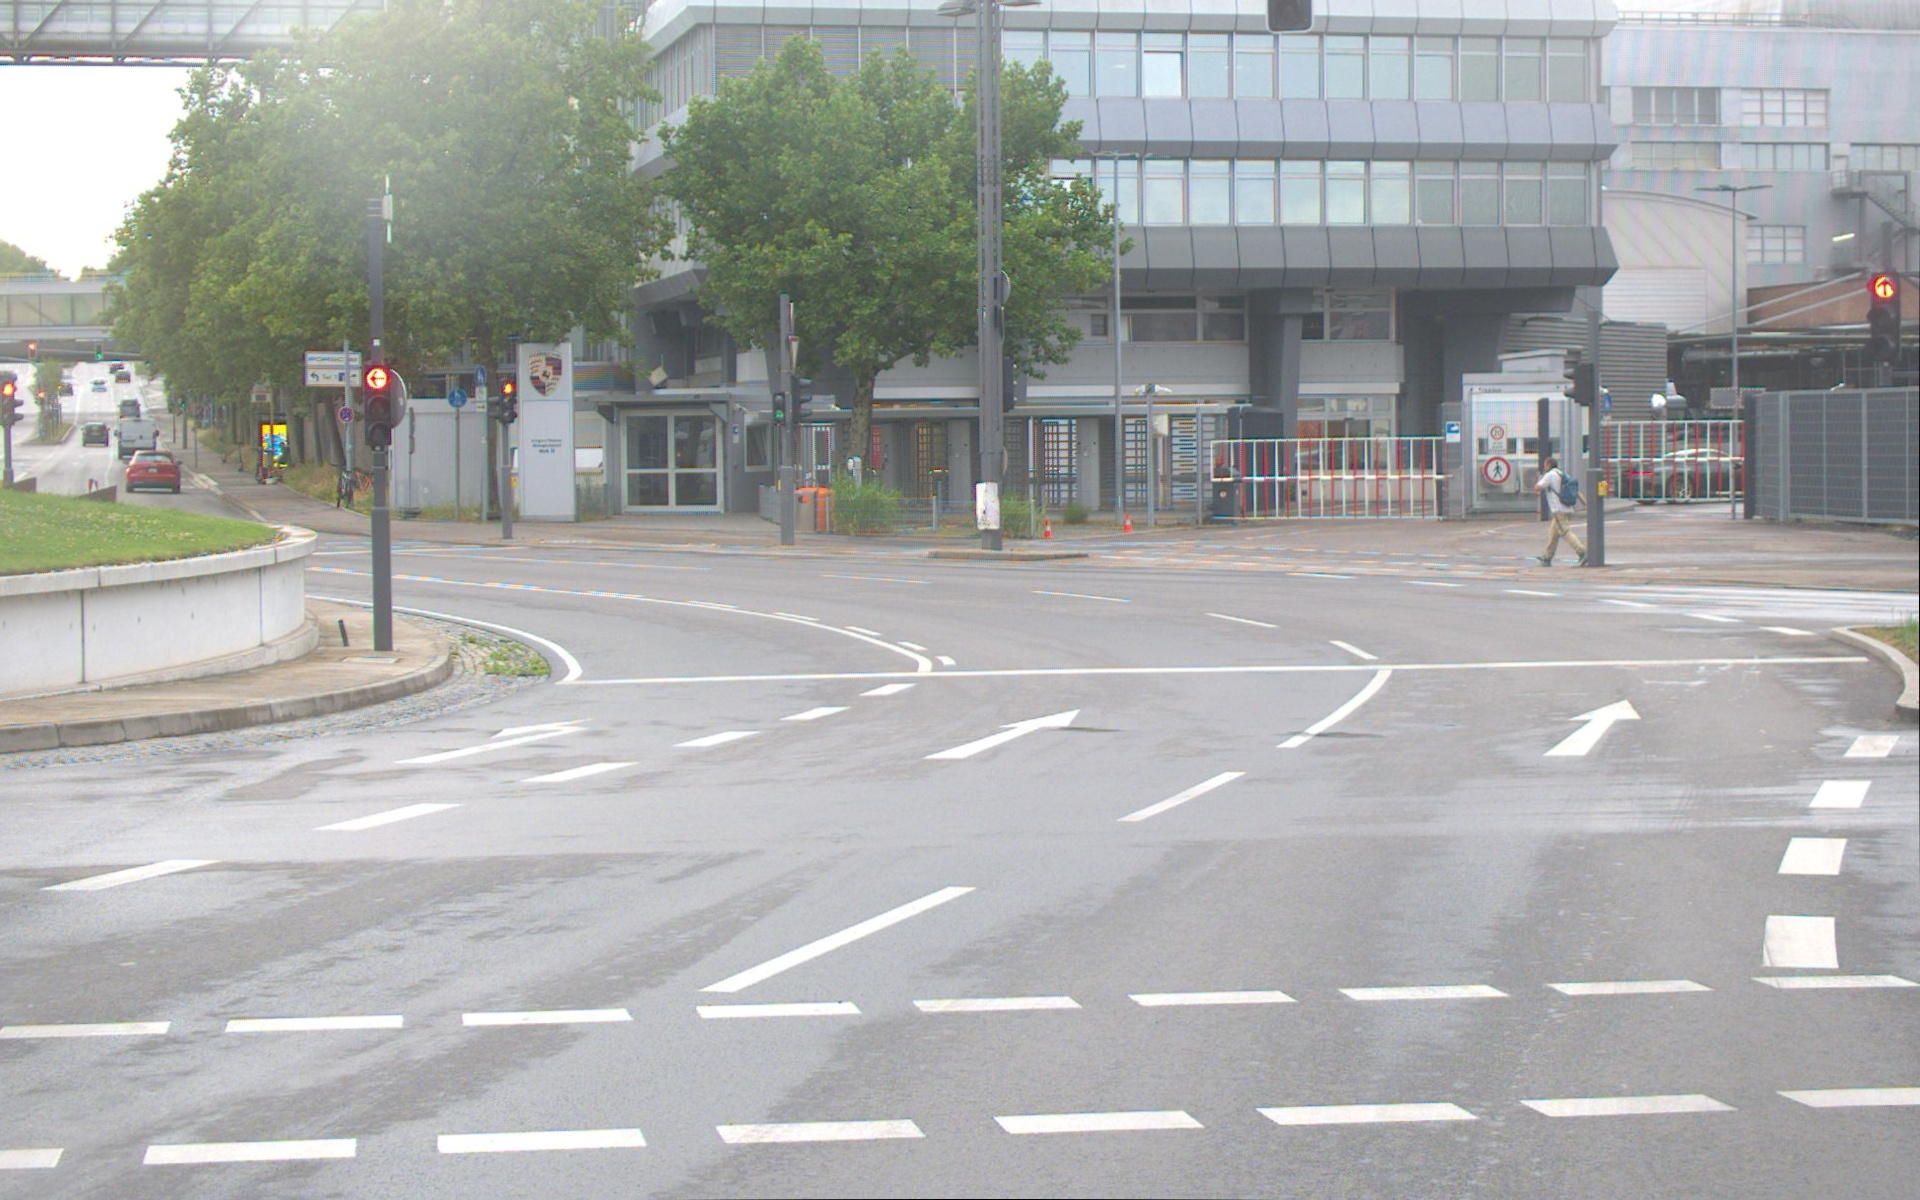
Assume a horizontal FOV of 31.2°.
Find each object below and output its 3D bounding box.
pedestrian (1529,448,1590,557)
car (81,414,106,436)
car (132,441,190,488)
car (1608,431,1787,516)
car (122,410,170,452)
[{"bbox_3d":[9.026,-1.458,51.778,0.808,1.605,0.769,-1,0,17],"label":"pedestrian"},{"bbox_3d":[-56.738,-11.432,225.060,1.556,1.284,3.415,-1,0,-15],"label":"car"},{"bbox_3d":[-26.834,-4.537,115.384,1.772,1.459,3.734,-1,0,-15],"label":"car"},{"bbox_3d":[17.699,-3.021,82.409,1.998,1.962,4.883,1,2,42],"label":"car"},{"bbox_3d":[-45.072,-9.368,190.490,2.232,2.100,4.956,-1,0,-9],"label":"car"}]
